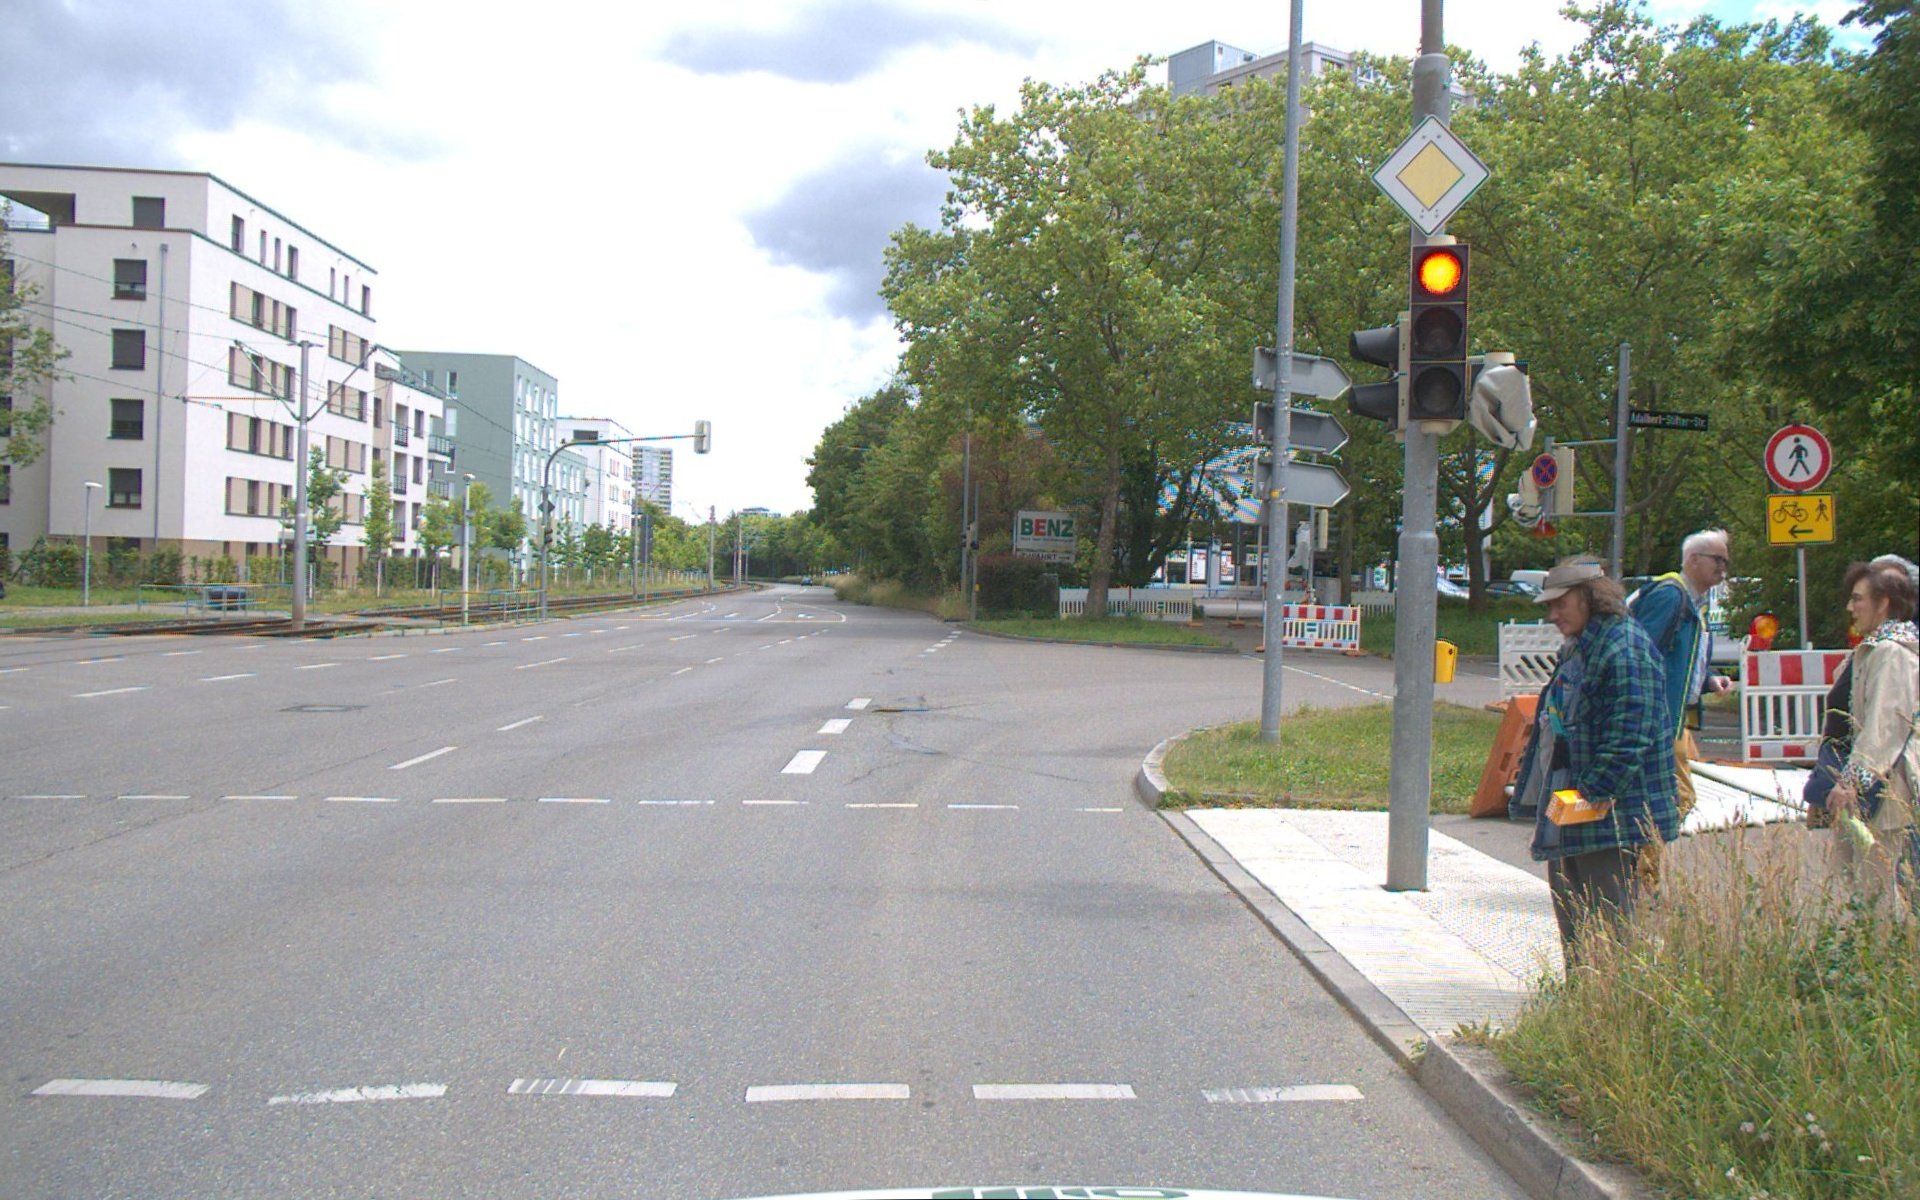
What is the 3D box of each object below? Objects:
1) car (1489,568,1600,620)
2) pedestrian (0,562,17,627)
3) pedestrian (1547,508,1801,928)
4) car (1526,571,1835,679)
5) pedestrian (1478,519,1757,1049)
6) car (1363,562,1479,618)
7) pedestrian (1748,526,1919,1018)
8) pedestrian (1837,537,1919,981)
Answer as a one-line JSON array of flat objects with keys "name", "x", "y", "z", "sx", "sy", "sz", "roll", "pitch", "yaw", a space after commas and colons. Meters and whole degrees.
[{"name": "car", "x": 23.919, "y": -0.264, "z": 67.820, "sx": 1.974, "sy": 2.049, "sz": 3.957, "roll": 0, "pitch": 1, "yaw": -32}, {"name": "pedestrian", "x": -23.285, "y": -0.137, "z": 39.811, "sx": 0.814, "sy": 1.542, "sz": 0.636, "roll": 1, "pitch": 0, "yaw": -1}, {"name": "pedestrian", "x": 3.366, "y": 0.496, "z": 7.766, "sx": 0.990, "sy": 1.805, "sz": 0.947, "roll": 1, "pitch": 1, "yaw": 29}, {"name": "car", "x": 13.421, "y": 0.448, "z": 30.982, "sx": 4.976, "sy": 1.906, "sz": 1.947, "roll": 1, "pitch": 0, "yaw": -5}, {"name": "pedestrian", "x": 2.255, "y": 0.583, "z": 5.774, "sx": 0.805, "sy": 1.700, "sz": 0.734, "roll": 1, "pitch": 1, "yaw": 16}, {"name": "car", "x": 17.508, "y": -0.387, "z": 62.948, "sx": 1.974, "sy": 2.049, "sz": 3.957, "roll": 0, "pitch": 1, "yaw": -32}, {"name": "pedestrian", "x": 3.325, "y": 0.579, "z": 5.991, "sx": 0.806, "sy": 1.668, "sz": 0.732, "roll": 1, "pitch": 1, "yaw": 27}, {"name": "pedestrian", "x": 3.931, "y": 0.597, "z": 6.447, "sx": 0.851, "sy": 1.663, "sz": 0.765, "roll": 1, "pitch": 1, "yaw": 26}]
